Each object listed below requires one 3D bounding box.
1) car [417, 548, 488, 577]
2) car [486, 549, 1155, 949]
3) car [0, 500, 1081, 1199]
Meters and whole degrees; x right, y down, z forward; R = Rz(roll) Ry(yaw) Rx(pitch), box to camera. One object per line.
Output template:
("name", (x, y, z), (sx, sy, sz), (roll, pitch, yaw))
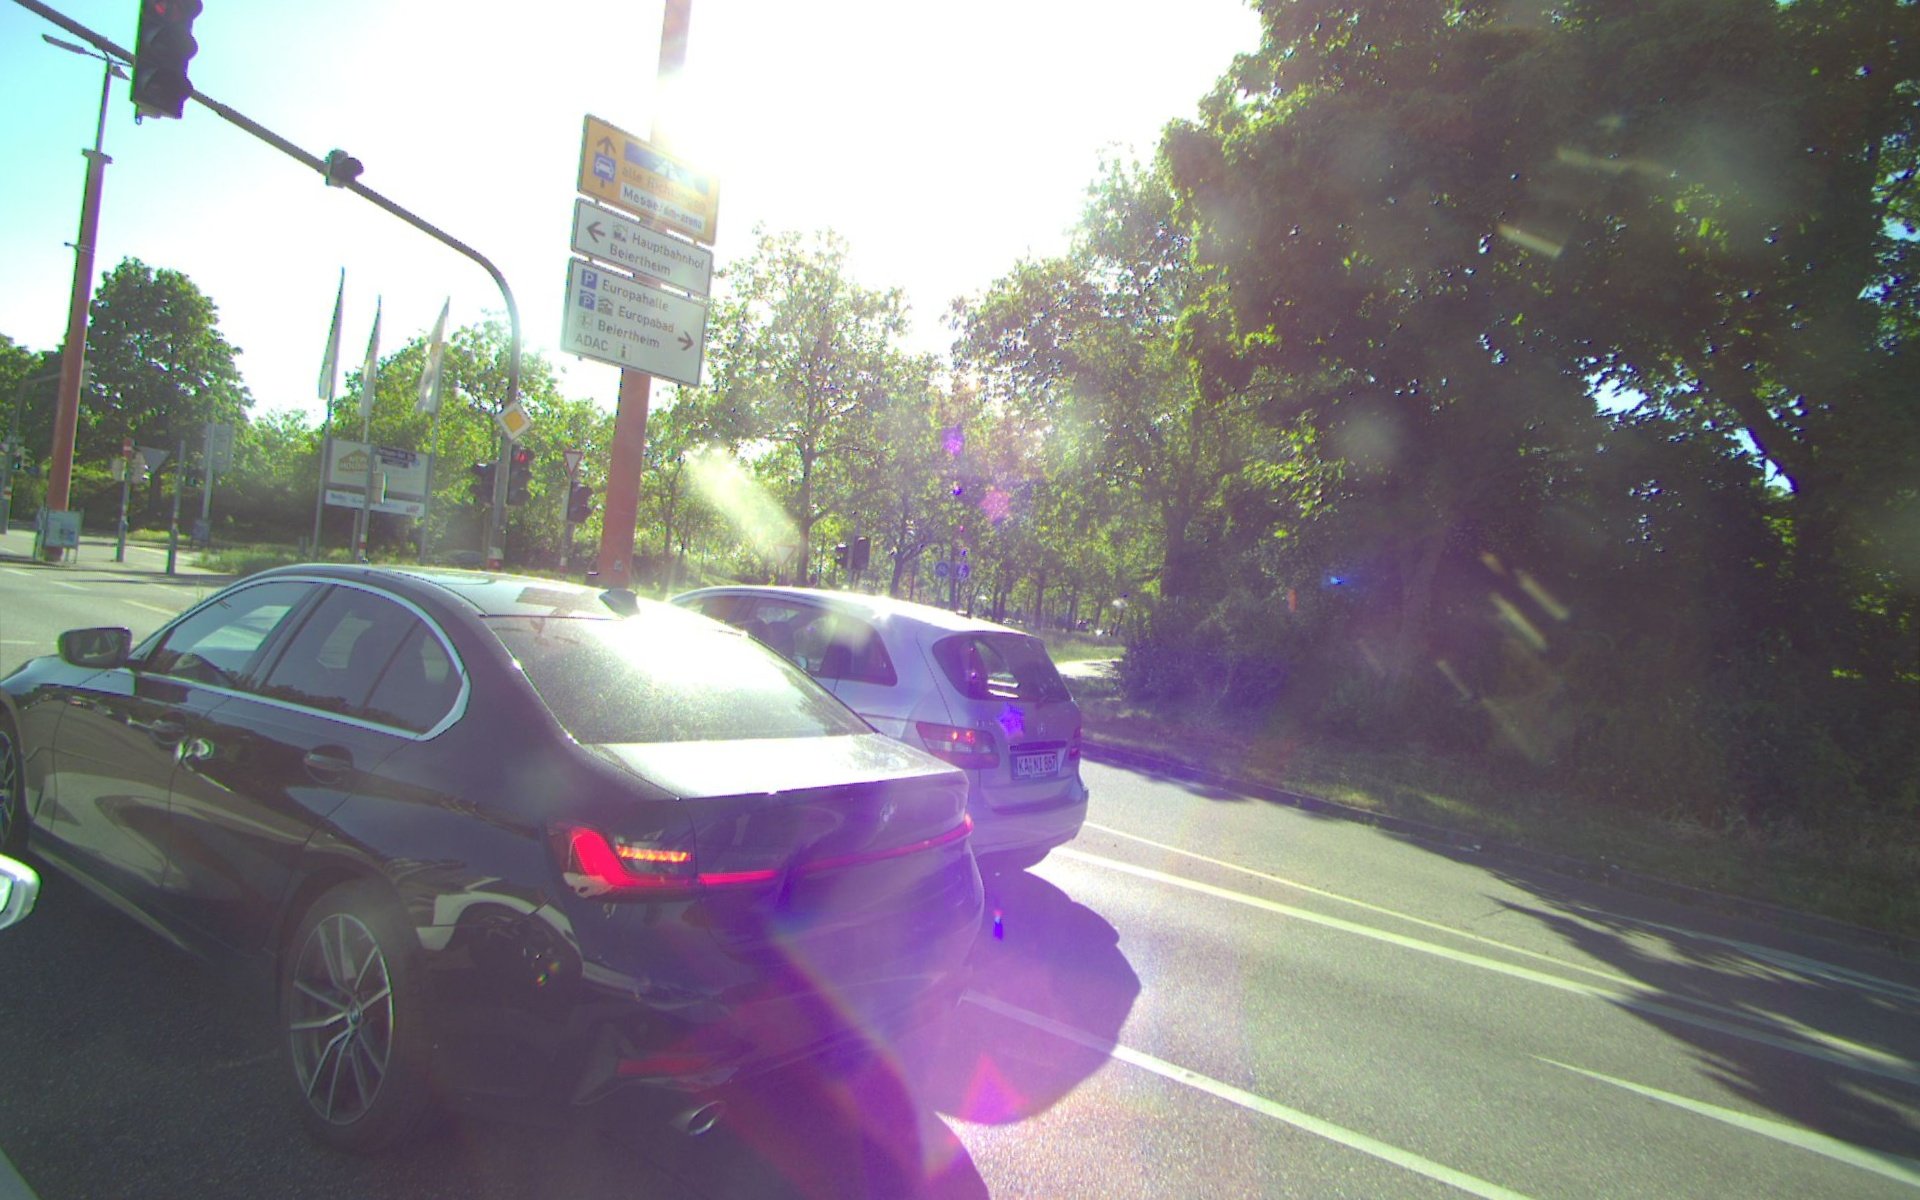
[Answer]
("car", (-28.982, -2.142, 57.539), (1.590, 1.221, 3.452), (7, -1, 17))
("car", (-1.014, 0.707, 6.484), (3.963, 1.597, 1.741), (7, 0, 33))
("car", (-1.978, 0.546, 3.859), (4.372, 1.415, 1.871), (7, 0, 34))
